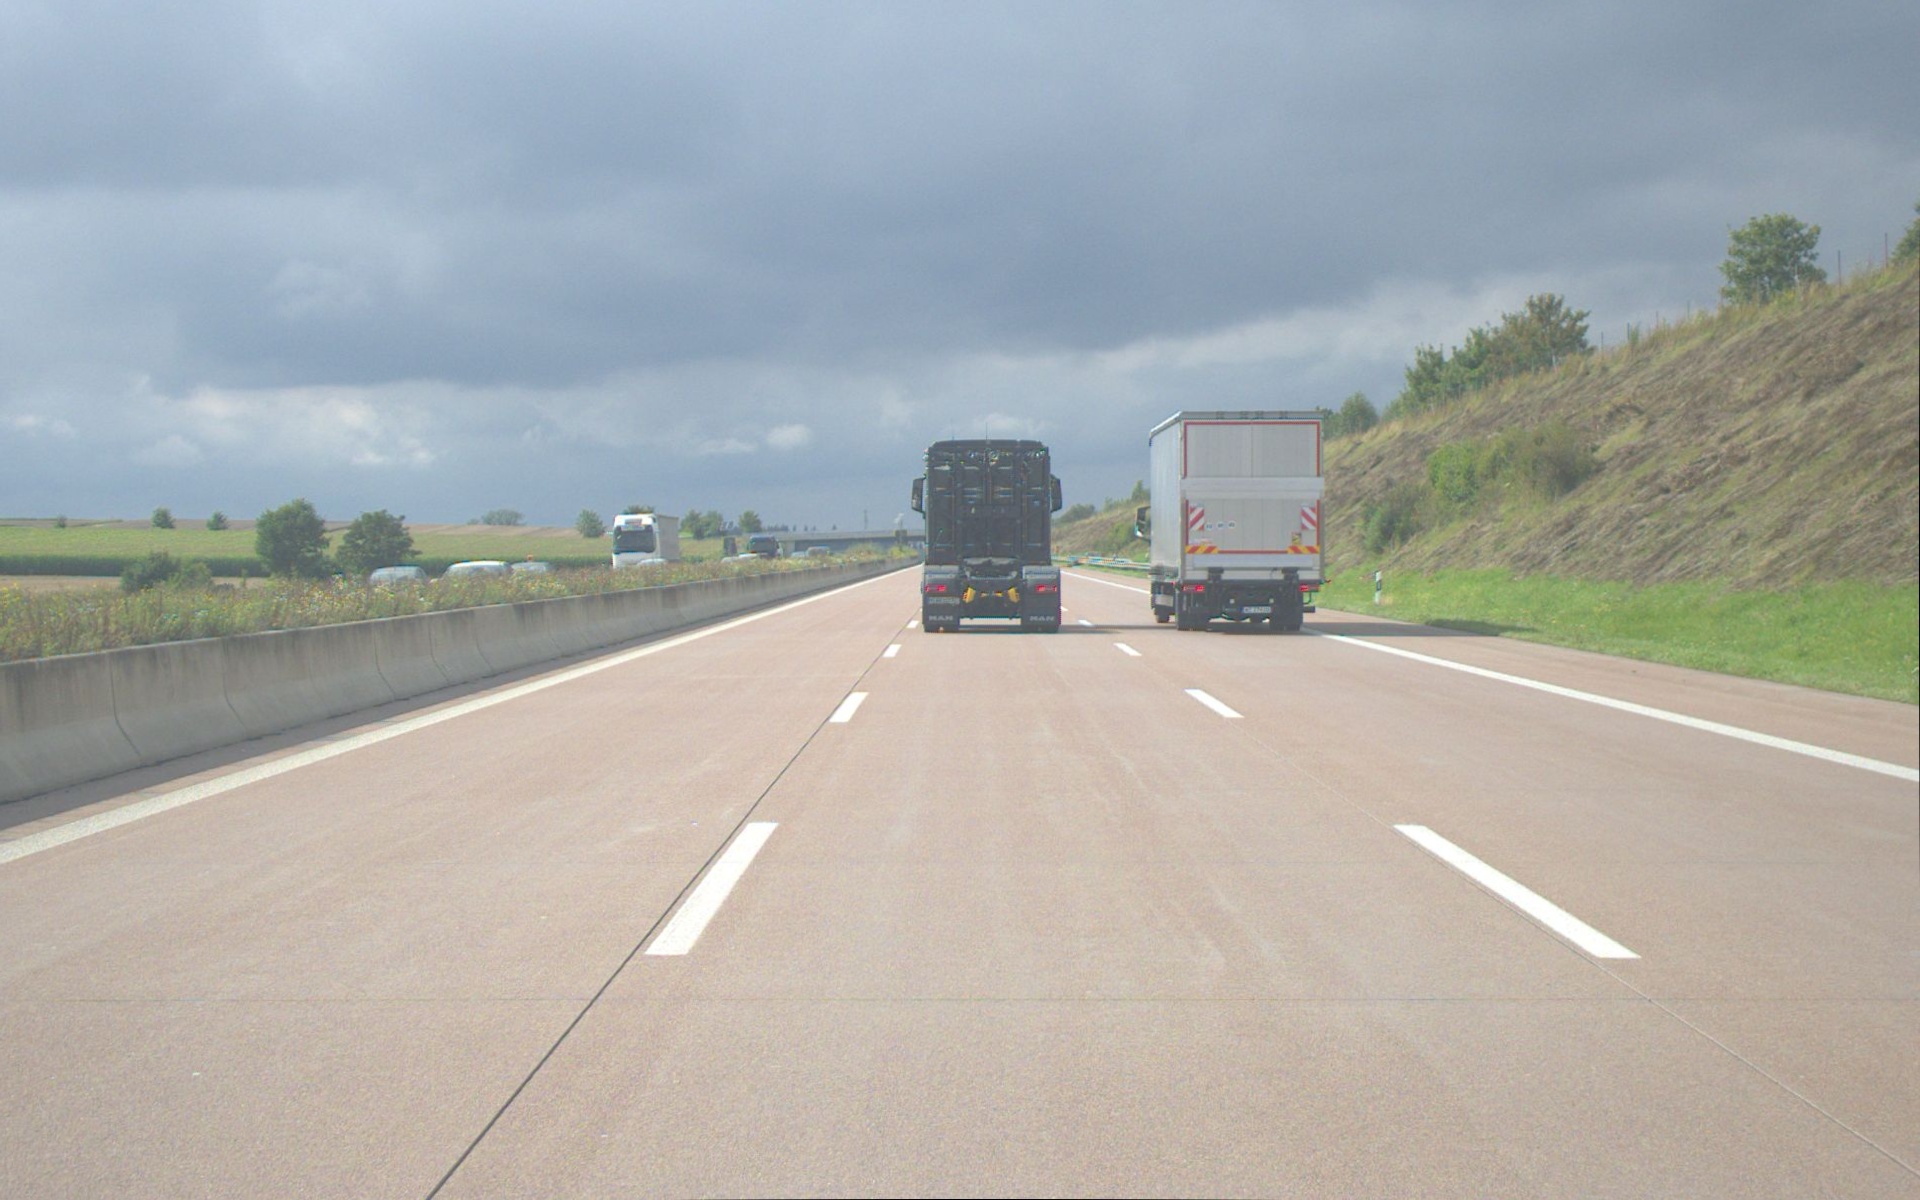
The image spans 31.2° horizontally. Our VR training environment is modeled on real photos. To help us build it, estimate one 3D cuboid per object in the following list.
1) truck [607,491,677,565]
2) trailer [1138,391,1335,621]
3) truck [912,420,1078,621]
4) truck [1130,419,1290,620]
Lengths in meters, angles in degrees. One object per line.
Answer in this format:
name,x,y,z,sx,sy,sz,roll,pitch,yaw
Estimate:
truck,-17.827,-4.045,193.024,3.206,4.084,6.126,1,1,1
trailer,5.065,-1.696,64.461,2.747,3.998,8.671,0,1,-2
truck,0.557,-1.449,64.895,2.847,3.537,8.320,0,1,-1
truck,4.953,-1.593,68.839,2.748,3.878,4.546,0,1,-2
